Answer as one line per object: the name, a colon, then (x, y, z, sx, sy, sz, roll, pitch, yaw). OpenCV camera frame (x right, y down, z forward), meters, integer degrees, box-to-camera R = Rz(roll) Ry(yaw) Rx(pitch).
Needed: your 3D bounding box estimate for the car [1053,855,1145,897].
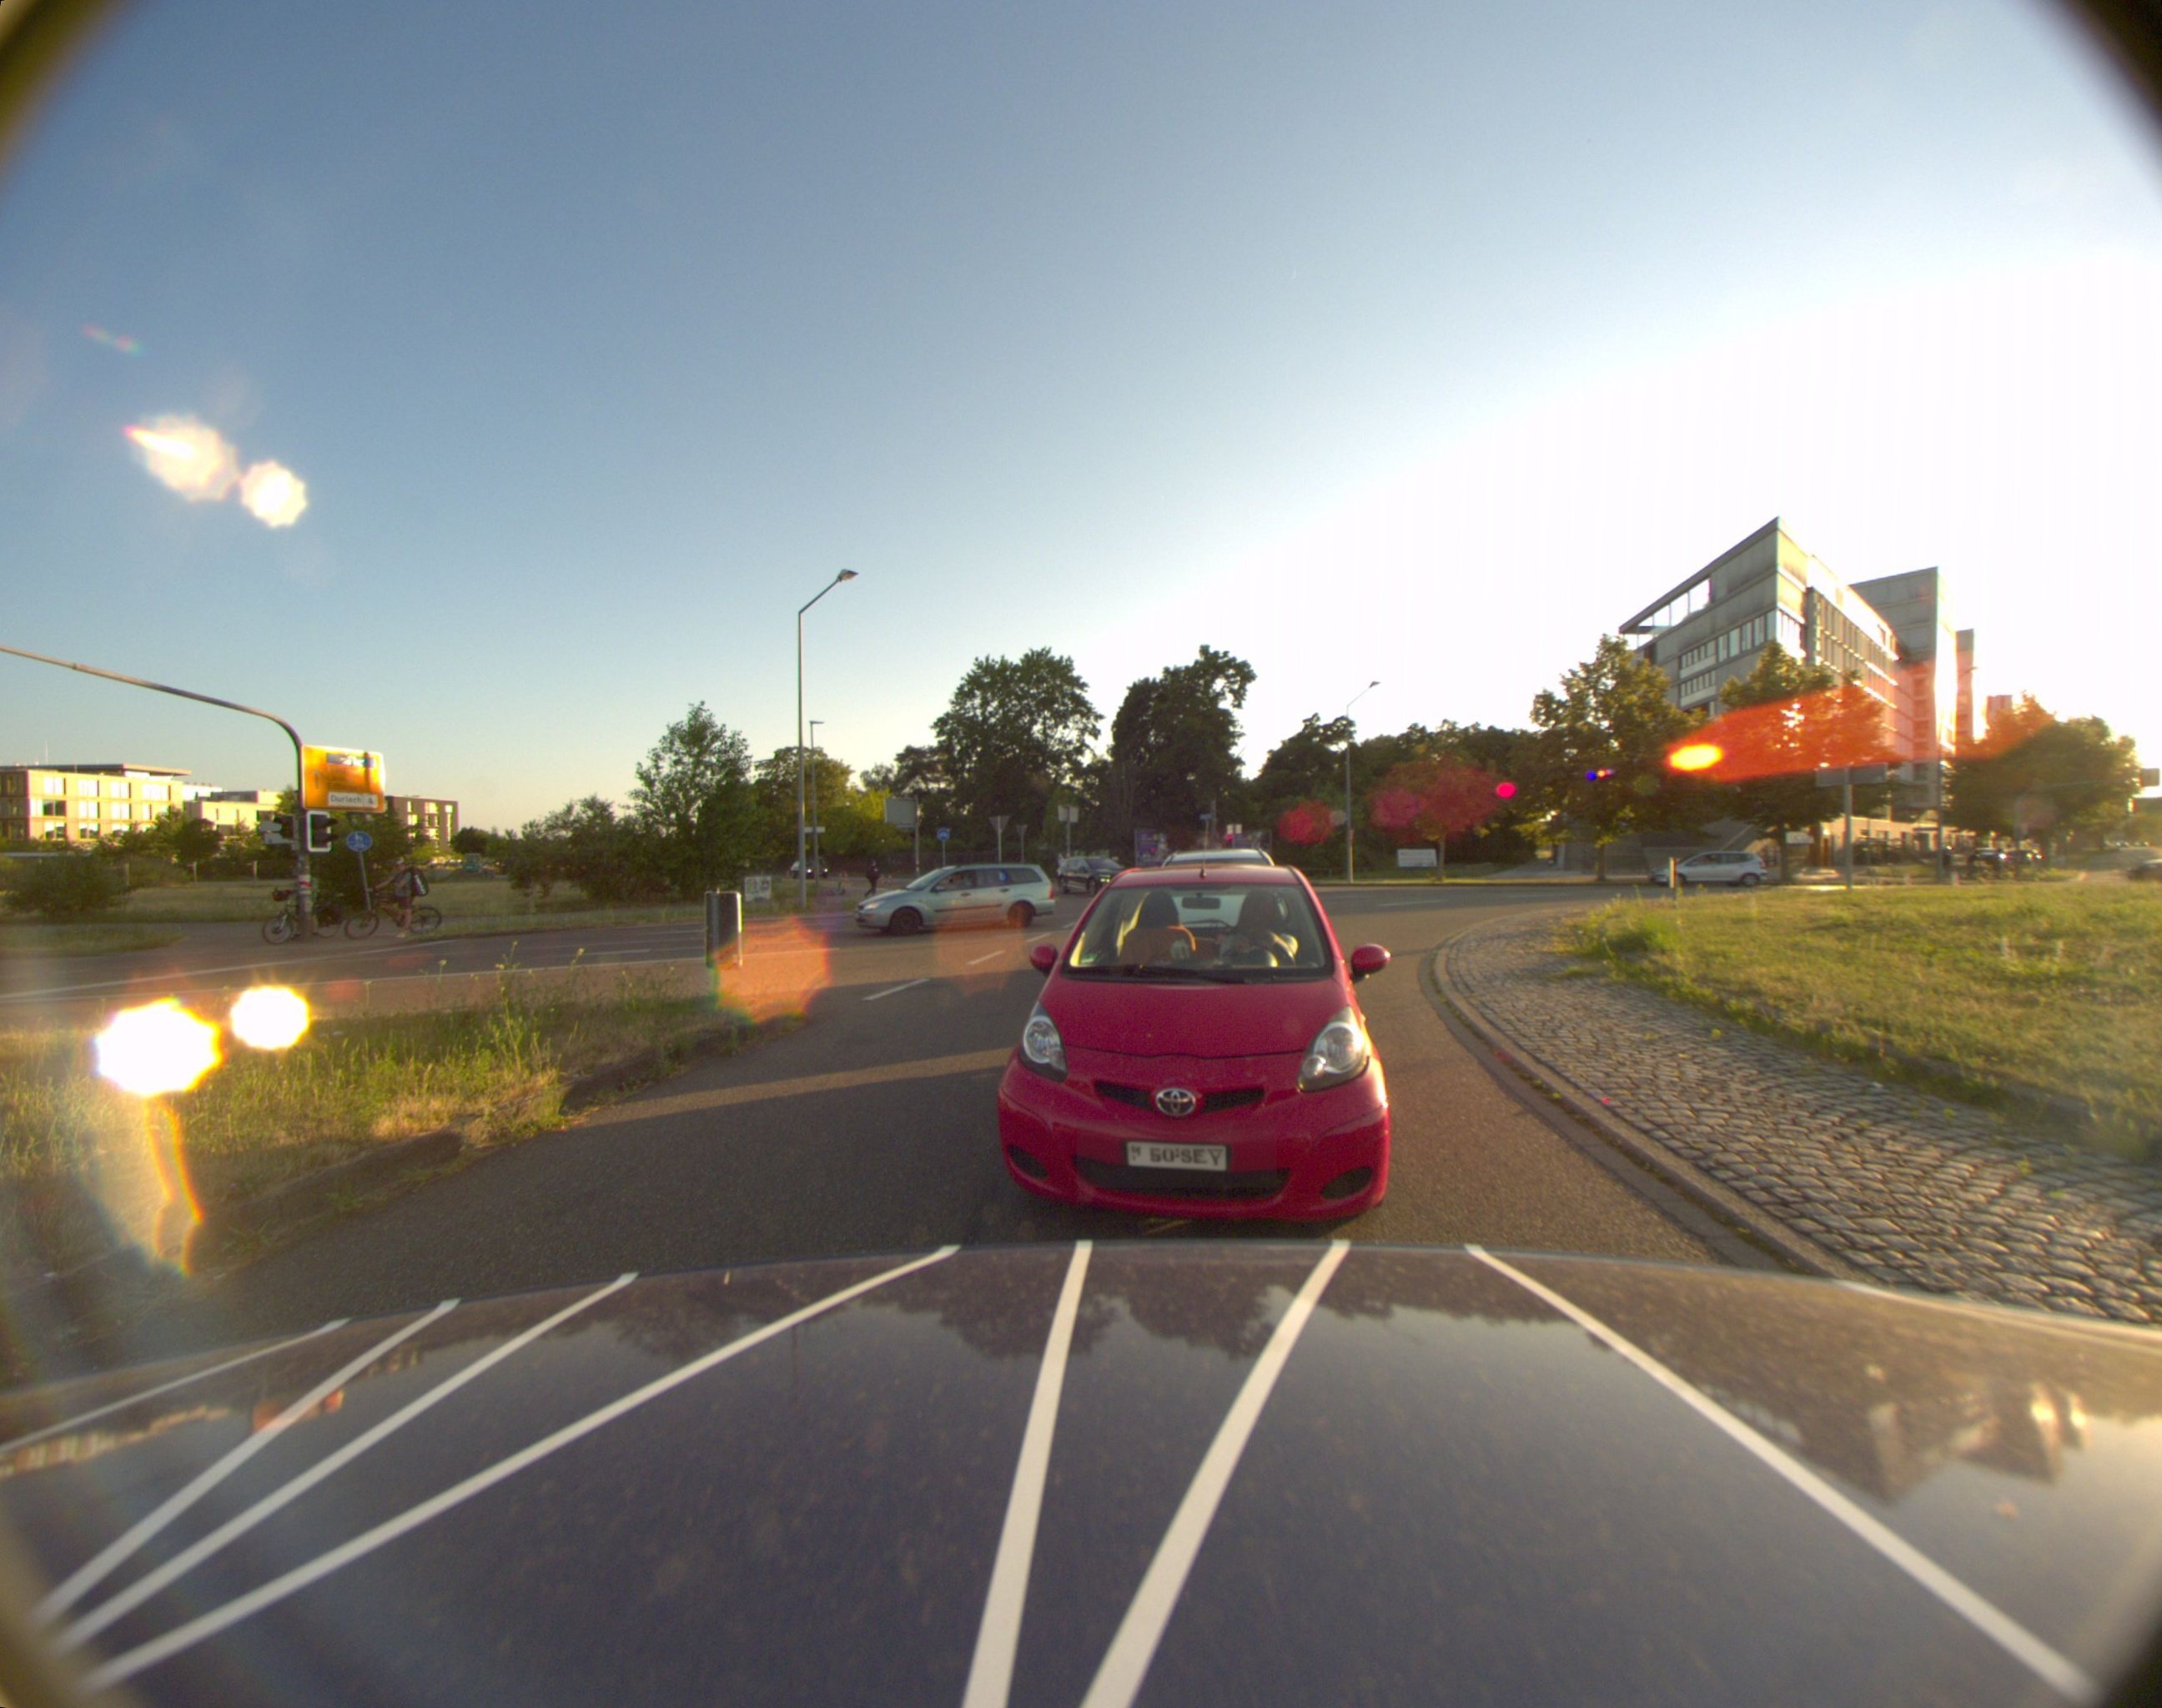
car: (0.657, 0.863, 31.869, 2.003, 1.588, 4.304, -1, 1, -28)

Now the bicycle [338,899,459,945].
bicycle: (-17.164, 1.674, 19.183, 0.708, 0.957, 2.149, -1, 0, 26)

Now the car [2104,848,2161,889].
car: (38.858, 0.476, 25.884, 4.372, 1.368, 2.004, -1, 0, 33)

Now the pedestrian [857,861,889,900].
pedestrian: (-8.585, 1.077, 31.365, 0.994, 1.581, 0.924, -2, 1, -36)

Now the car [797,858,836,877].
car: (-22.032, 1.109, 63.147, 2.003, 1.477, 3.990, -1, 0, -35)

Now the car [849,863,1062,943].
car: (-2.824, 1.007, 17.177, 4.318, 1.483, 1.995, -1, 1, -28)

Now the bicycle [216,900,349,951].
bicycle: (-19.275, 1.693, 18.423, 0.708, 0.958, 2.109, -1, 2, 14)

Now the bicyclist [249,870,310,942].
bicyclist: (-19.333, 1.252, 18.336, 0.724, 1.680, 0.690, -1, 1, 12)

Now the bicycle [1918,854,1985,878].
bicycle: (47.089, 0.627, 41.132, 0.744, 1.237, 2.341, -2, 1, -41)

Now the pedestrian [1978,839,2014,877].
pedestrian: (49.369, 0.195, 41.002, 0.776, 2.002, 0.998, -2, 1, -11)

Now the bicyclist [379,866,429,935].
bicyclist: (-17.148, 1.160, 19.243, 0.723, 1.680, 0.690, -1, 1, 28)

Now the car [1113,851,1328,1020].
car: (1.544, 0.776, 9.343, 1.997, 1.597, 4.200, -1, 0, 6)

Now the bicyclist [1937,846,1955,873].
bicyclist: (46.977, 0.307, 41.273, 0.693, 1.432, 0.610, -2, 1, -42)

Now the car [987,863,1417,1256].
car: (0.860, 0.816, 5.004, 1.687, 1.412, 4.003, -1, 0, 12)

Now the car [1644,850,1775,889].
car: (26.509, 0.651, 32.228, 3.883, 1.571, 1.957, -1, 0, 22)
